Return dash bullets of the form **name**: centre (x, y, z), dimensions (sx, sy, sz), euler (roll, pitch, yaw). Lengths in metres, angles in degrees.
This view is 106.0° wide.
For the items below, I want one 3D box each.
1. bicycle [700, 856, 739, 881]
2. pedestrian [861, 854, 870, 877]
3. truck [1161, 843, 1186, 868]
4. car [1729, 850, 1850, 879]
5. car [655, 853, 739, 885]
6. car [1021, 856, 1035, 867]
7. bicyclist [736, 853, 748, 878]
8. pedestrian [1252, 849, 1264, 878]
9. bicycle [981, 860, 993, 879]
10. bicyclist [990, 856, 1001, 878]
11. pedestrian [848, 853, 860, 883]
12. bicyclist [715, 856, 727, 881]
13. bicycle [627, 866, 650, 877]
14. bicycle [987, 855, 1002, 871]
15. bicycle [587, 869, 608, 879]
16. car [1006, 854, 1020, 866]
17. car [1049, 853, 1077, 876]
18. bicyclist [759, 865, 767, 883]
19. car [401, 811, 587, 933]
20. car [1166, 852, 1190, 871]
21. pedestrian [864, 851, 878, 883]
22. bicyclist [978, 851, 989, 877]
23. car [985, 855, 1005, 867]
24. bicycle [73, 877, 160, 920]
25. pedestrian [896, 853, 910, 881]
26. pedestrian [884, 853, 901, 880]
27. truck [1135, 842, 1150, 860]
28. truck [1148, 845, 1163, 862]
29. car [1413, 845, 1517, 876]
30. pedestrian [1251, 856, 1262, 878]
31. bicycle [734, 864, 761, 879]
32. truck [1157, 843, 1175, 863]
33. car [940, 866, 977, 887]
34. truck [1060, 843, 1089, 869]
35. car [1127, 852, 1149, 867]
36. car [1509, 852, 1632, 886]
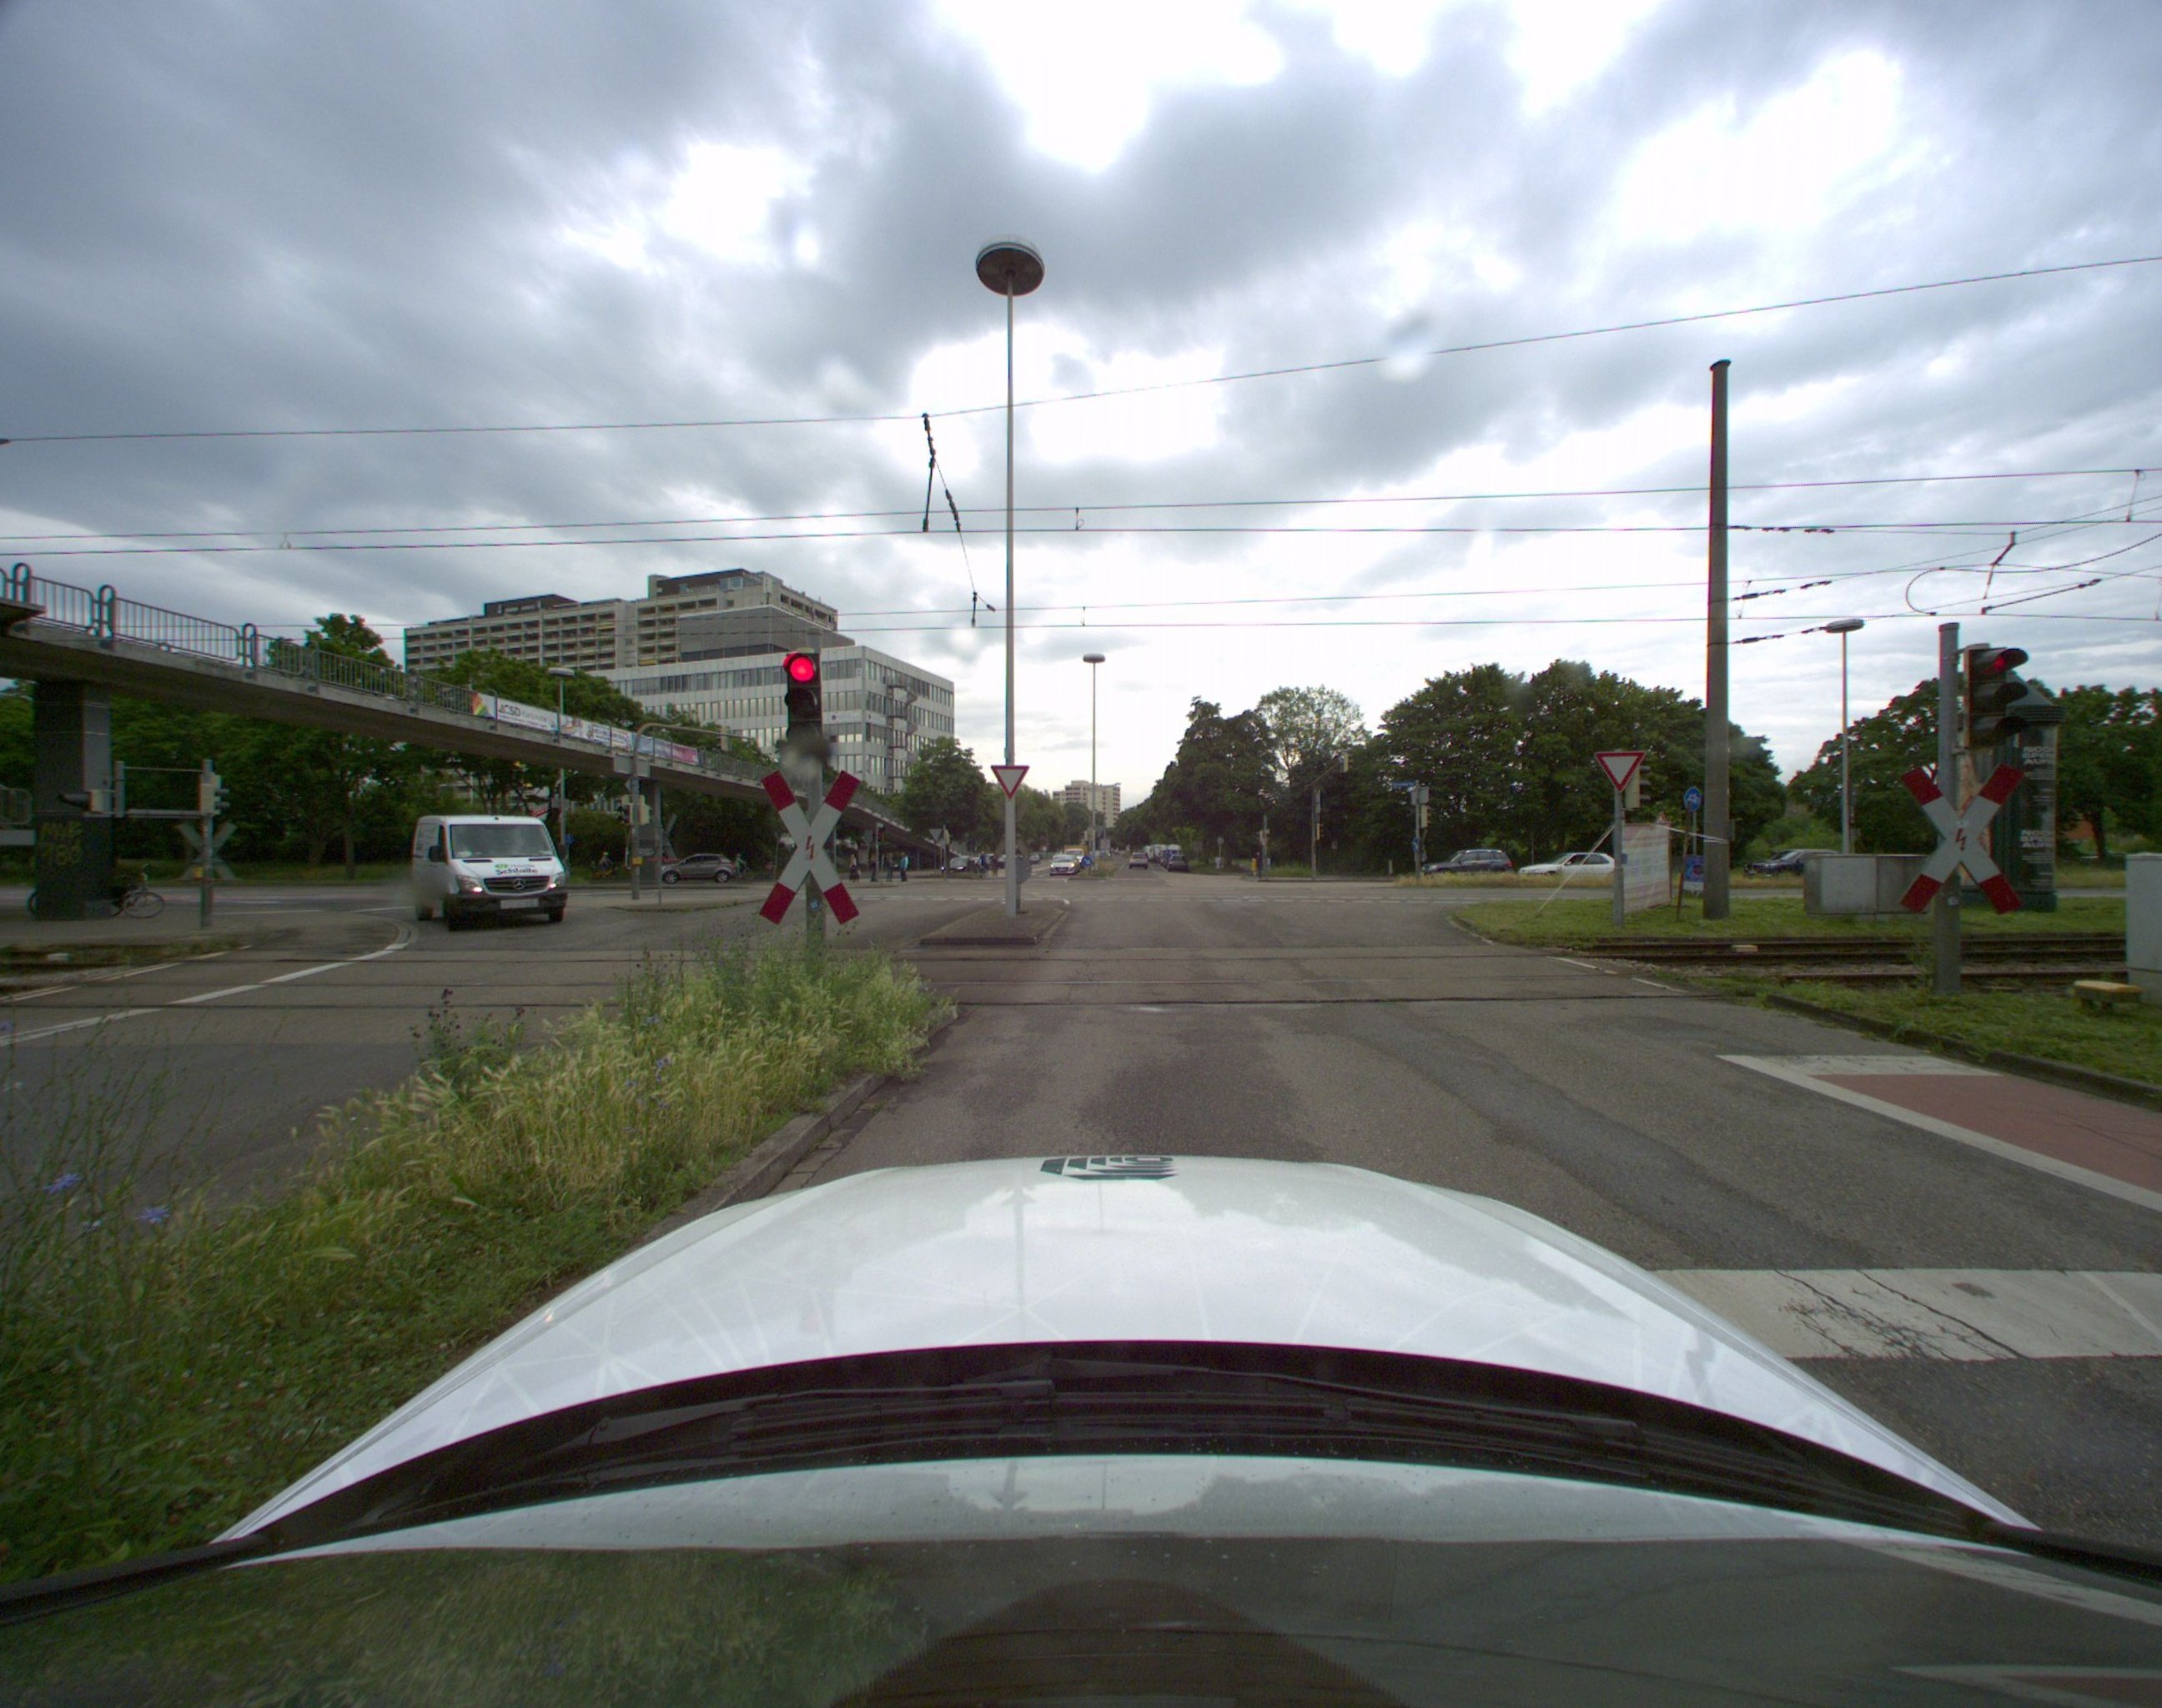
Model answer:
- **bicycle**: centre (-23.992, 0.959, 54.037), dimensions (2.371, 1.625, 0.523), euler (0, -1, -28)
- **pedestrian**: centre (-15.101, 0.805, 57.111), dimensions (0.580, 1.579, 0.777), euler (0, 0, -16)
- **truck**: centre (10.270, 0.203, 90.665), dimensions (2.166, 2.656, 6.249), euler (-1, 0, 2)
- **car**: centre (35.739, 0.518, 41.169), dimensions (4.447, 1.440, 1.847), euler (0, 0, 2)
- **car**: centre (-22.146, 0.834, 46.999), dimensions (4.221, 1.734, 1.613), euler (0, 0, -31)
- **car**: centre (-8.213, 1.162, 126.399), dimensions (1.665, 1.552, 4.003), euler (0, 0, 3)
- **bicyclist**: centre (-22.328, 0.758, 53.606), dimensions (0.563, 1.644, 0.532), euler (0, -1, 2)
- **pedestrian**: centre (10.677, 0.578, 49.119), dimensions (0.654, 1.750, 0.459), euler (0, 0, 1)
- **bicycle**: centre (-6.464, 1.027, 55.950), dimensions (0.541, 1.267, 2.112), euler (0, 0, 2)
- **bicyclist**: centre (-6.186, 0.926, 59.030), dimensions (0.676, 1.594, 0.695), euler (0, -1, 1)
- **pedestrian**: centre (-12.867, 0.801, 46.071), dimensions (0.619, 1.691, 0.403), euler (0, 0, -12)
- **bicyclist**: centre (-23.912, 0.959, 54.096), dimensions (0.751, 1.625, 0.523), euler (0, -1, -27)
- **bicycle**: centre (-28.574, 1.135, 52.554), dimensions (1.303, 0.692, 0.287), euler (0, 0, -34)
- **bicycle**: centre (-6.203, 0.628, 58.646), dimensions (0.724, 1.101, 2.265), euler (0, 0, 2)
- **bicycle**: centre (-31.253, 1.282, 52.619), dimensions (1.145, 0.668, 0.265), euler (0, 0, -6)
- **car**: centre (-9.052, 0.792, 108.067), dimensions (1.439, 1.552, 3.666), euler (0, 0, 2)
- **car**: centre (-1.241, 0.707, 58.117), dimensions (1.782, 1.519, 4.327), euler (0, 0, 2)
- **bicyclist**: centre (-21.693, 1.364, 55.532), dimensions (0.403, 1.181, 0.378), euler (0, 1, 4)
- **car**: centre (-12.922, 0.282, 17.788), dimensions (5.142, 2.292, 2.154), euler (1, 2, 42)
- **car**: centre (8.791, 0.618, 73.888), dimensions (1.777, 1.662, 4.002), euler (0, 0, 2)
- **pedestrian**: centre (-11.905, 0.740, 46.234), dimensions (0.636, 1.803, 0.800), euler (0, 0, -7)
- **bicyclist**: centre (-6.662, 0.663, 55.826), dimensions (0.642, 1.768, 0.647), euler (0, 0, 1)
- **car**: centre (-10.099, 0.818, 95.472), dimensions (1.757, 1.395, 4.002), euler (0, 0, 2)
- **bicycle**: centre (-21.729, 0.995, 18.347), dimensions (2.017, 0.921, 0.375), euler (0, 0, 13)
- **pedestrian**: centre (-10.090, 0.741, 46.227), dimensions (0.685, 1.605, 0.487), euler (0, 0, -3)
- **pedestrian**: centre (-10.720, 0.715, 46.254), dimensions (0.917, 1.511, 0.402), euler (0, 0, -10)
- **truck**: centre (10.784, -0.453, 142.910), dimensions (1.988, 3.009, 5.768), euler (0, -1, -1)
- **truck**: centre (12.090, -0.074, 132.075), dimensions (1.987, 2.573, 5.377), euler (0, -1, 0)
- **car**: centre (19.521, 0.328, 41.511), dimensions (4.447, 1.504, 1.847), euler (0, 0, 2)
- **pedestrian**: centre (10.714, 0.775, 49.742), dimensions (0.525, 1.342, 0.525), euler (0, 0, 1)
- **bicycle**: centre (-21.924, 1.166, 53.556), dimensions (0.628, 0.925, 2.524), euler (0, 0, 2)
- **truck**: centre (12.493, -0.181, 119.984), dimensions (1.988, 2.838, 5.727), euler (0, 0, -2)
- **car**: centre (-9.535, 1.731, 63.476), dimensions (1.661, 1.552, 4.011), euler (0, 0, 10)
- **truck**: centre (-0.542, 0.196, 72.165), dimensions (2.146, 2.199, 5.847), euler (0, 0, 4)
- **car**: centre (5.781, 0.543, 82.863), dimensions (2.013, 1.505, 4.002), euler (0, 0, 2)
- **car**: centre (20.350, 0.623, 33.982), dimensions (4.120, 1.357, 1.648), euler (0, 0, 2)
